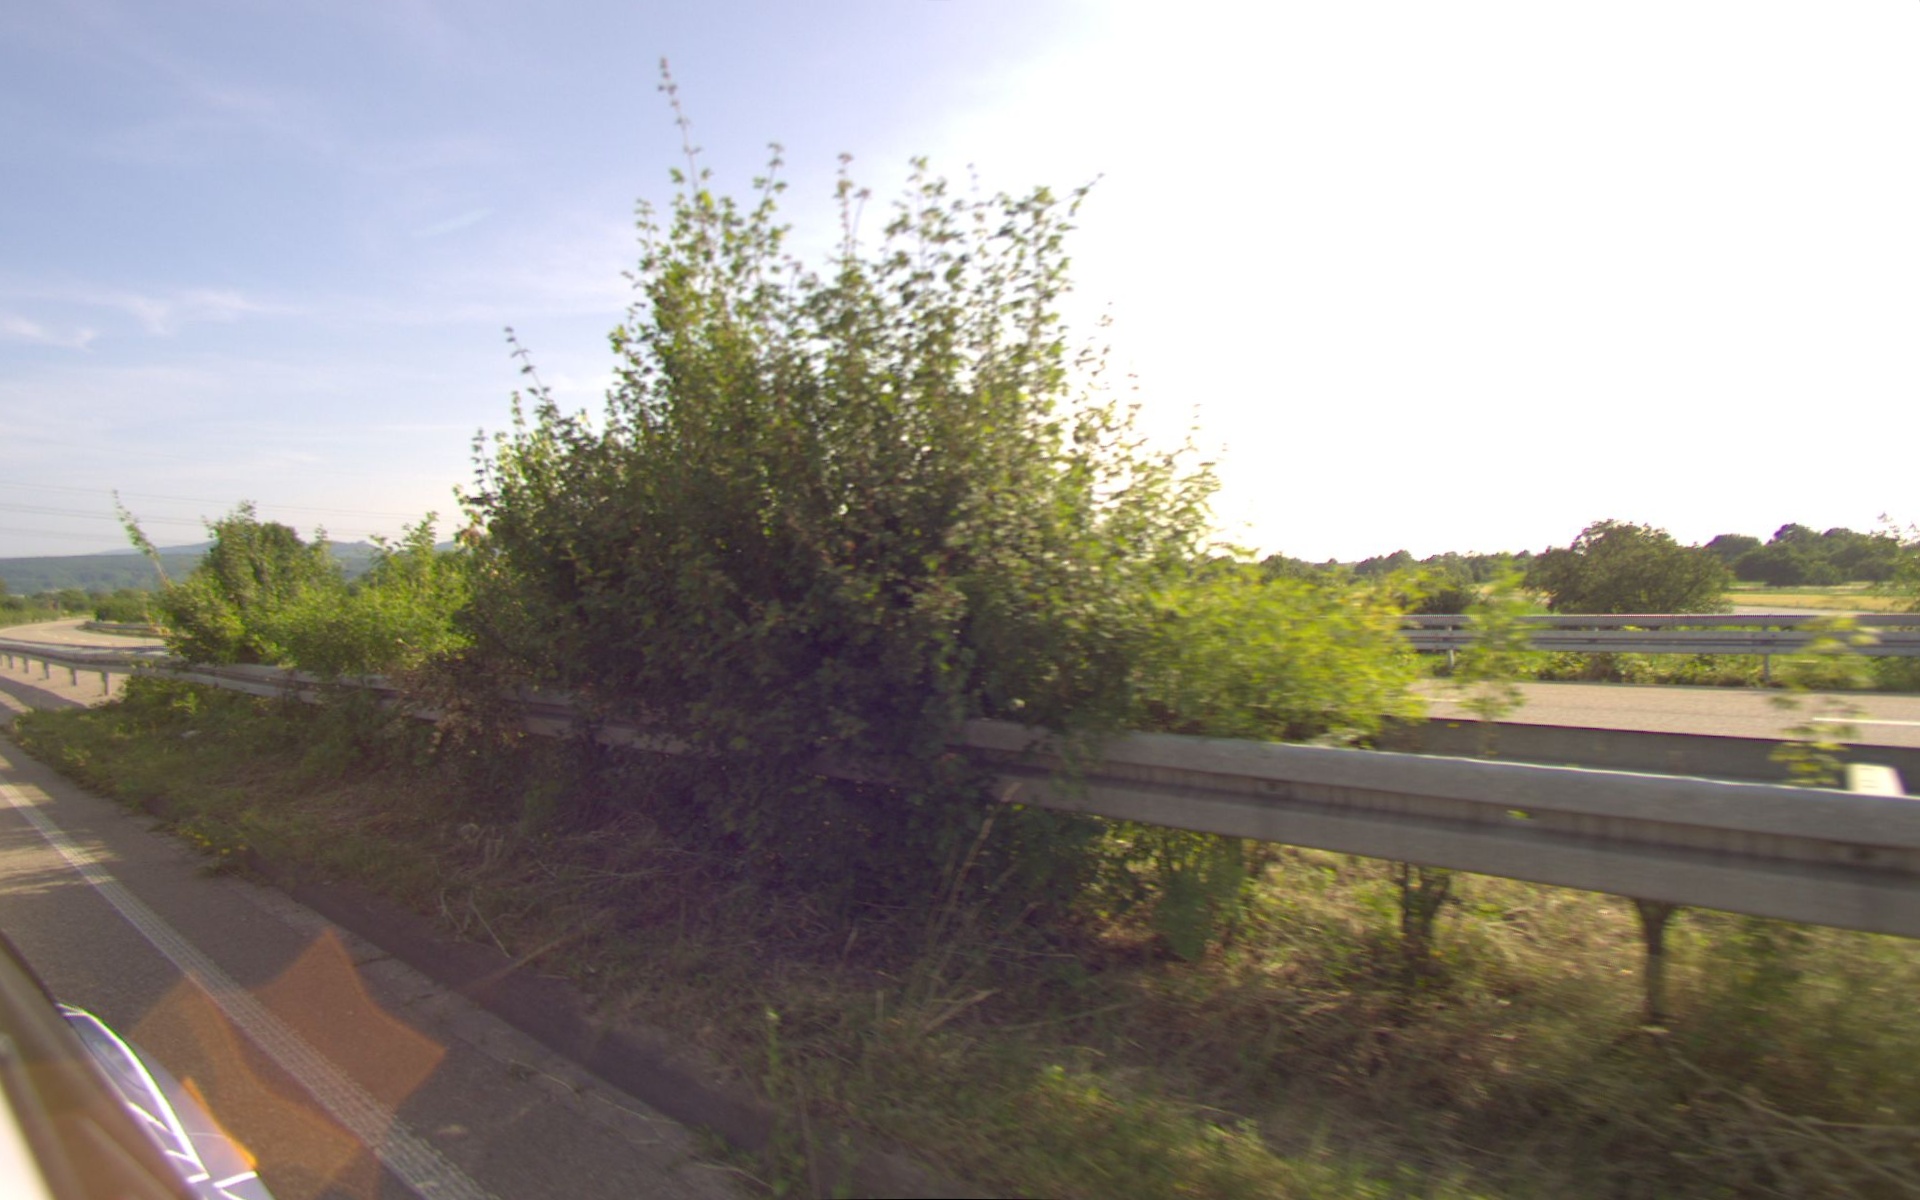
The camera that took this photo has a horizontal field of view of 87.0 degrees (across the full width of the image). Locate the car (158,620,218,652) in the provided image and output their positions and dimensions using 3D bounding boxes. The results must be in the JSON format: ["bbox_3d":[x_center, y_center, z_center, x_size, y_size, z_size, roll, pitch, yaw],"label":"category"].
[{"bbox_3d":[-37.036,1.710,48.520,4.000,1.431,1.622,-1,0,43],"label":"car"}]
